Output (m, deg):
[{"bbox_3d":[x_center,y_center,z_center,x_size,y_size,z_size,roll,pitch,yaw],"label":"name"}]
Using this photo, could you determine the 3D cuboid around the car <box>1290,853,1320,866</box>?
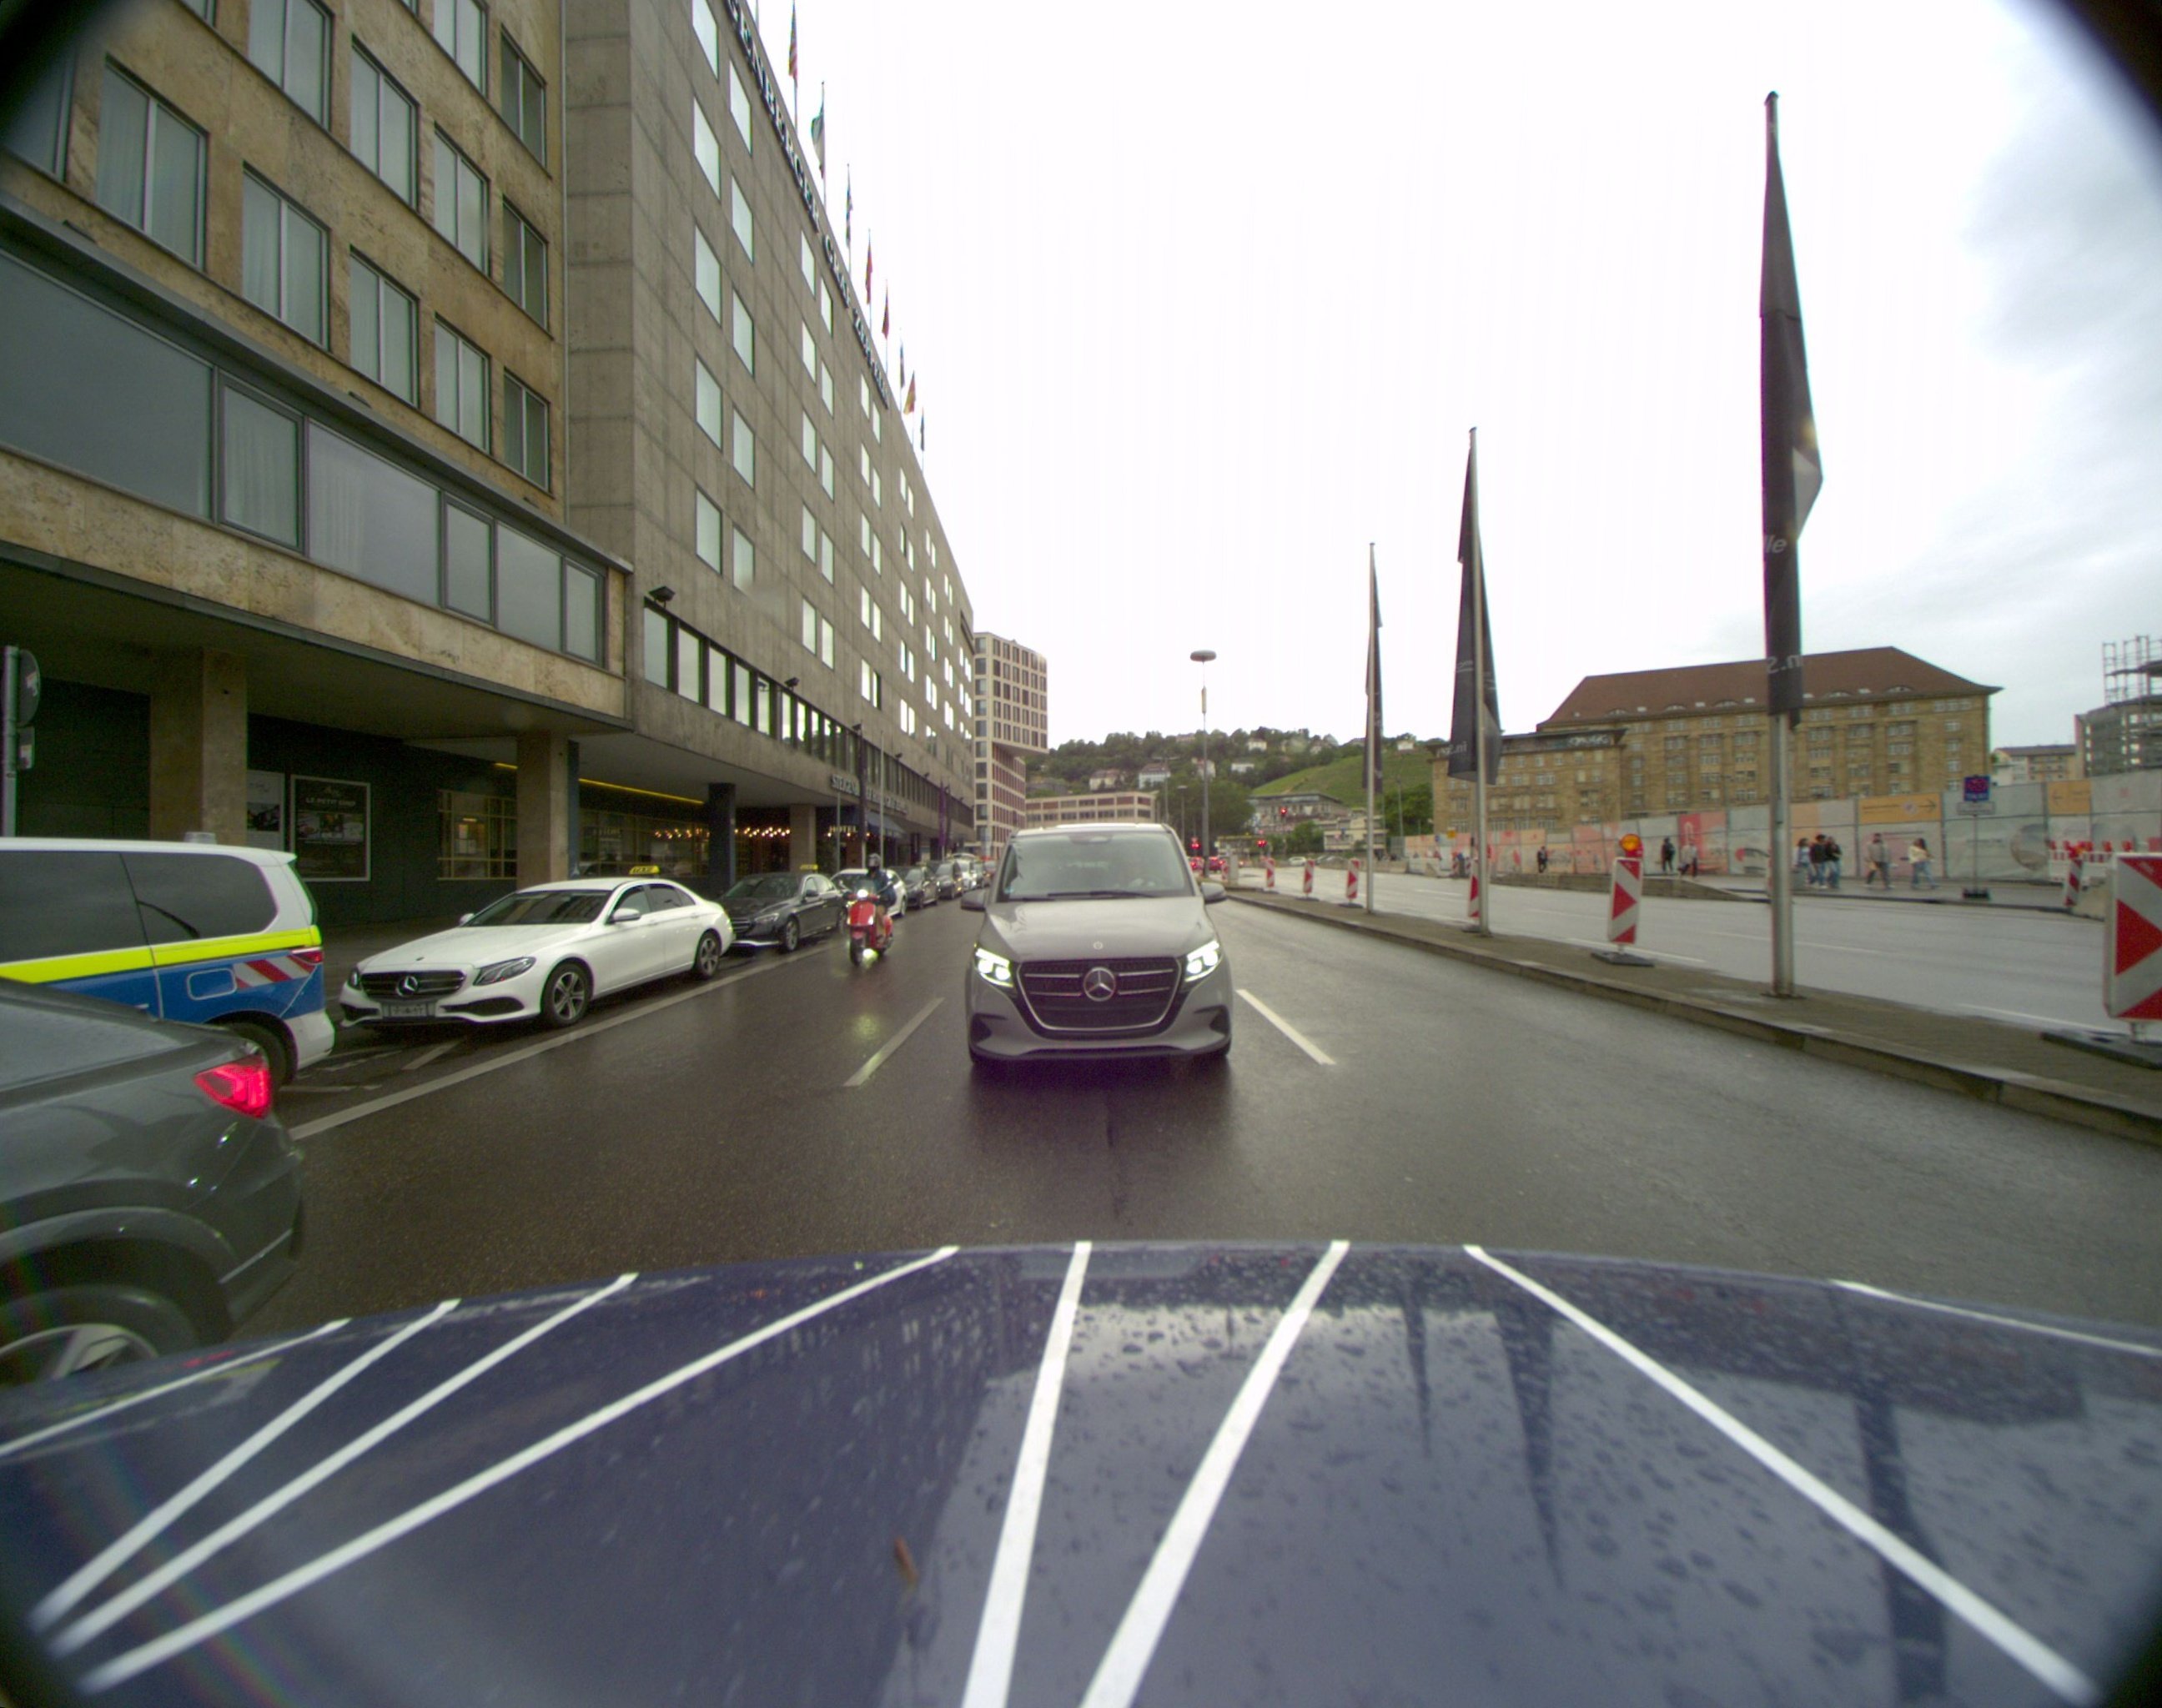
[{"bbox_3d":[34.624,0.834,117.408,4.194,1.846,1.832,-2,1,6],"label":"car"}]

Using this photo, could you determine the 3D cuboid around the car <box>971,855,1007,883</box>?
[{"bbox_3d":[-5.871,0.915,48.906,1.731,1.604,4.001,-2,1,0],"label":"car"}]

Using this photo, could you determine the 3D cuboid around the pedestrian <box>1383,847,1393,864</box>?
[{"bbox_3d":[30.169,0.165,74.658,0.715,1.606,0.544,-2,1,1],"label":"pedestrian"}]

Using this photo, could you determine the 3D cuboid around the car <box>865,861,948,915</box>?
[{"bbox_3d":[-6.043,1.122,26.851,1.731,1.583,4.814,-2,1,0],"label":"car"}]

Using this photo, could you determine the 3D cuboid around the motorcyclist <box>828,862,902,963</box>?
[{"bbox_3d":[-3.435,0.904,12.142,0.861,1.519,0.844,-2,1,1],"label":"motorcyclist"}]

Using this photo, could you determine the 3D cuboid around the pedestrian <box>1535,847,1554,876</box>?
[{"bbox_3d":[26.067,0.413,42.764,0.715,1.606,0.544,-2,1,1],"label":"pedestrian"}]

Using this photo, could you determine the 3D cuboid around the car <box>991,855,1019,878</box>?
[{"bbox_3d":[-5.903,0.966,59.226,1.731,1.604,4.001,-2,1,0],"label":"car"}]

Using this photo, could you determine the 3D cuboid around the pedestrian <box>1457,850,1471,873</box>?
[{"bbox_3d":[28.399,0.552,56.380,0.715,1.606,0.544,-2,1,1],"label":"pedestrian"}]

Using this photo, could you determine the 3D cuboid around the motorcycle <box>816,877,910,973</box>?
[{"bbox_3d":[-3.420,1.076,12.116,0.848,1.299,1.965,-2,1,1],"label":"motorcycle"}]

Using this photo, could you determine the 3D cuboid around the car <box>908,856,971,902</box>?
[{"bbox_3d":[-6.051,0.998,33.022,1.731,1.732,4.814,-2,1,0],"label":"car"}]

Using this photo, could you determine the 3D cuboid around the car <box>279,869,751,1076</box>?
[{"bbox_3d":[-6.091,1.100,9.225,1.879,1.628,5.010,-2,1,0],"label":"car"}]

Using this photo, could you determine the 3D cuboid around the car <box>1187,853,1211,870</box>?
[{"bbox_3d":[12.281,0.781,79.163,1.785,1.684,3.916,-2,1,-1],"label":"car"}]

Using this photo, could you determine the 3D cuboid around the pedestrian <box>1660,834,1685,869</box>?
[{"bbox_3d":[28.287,-0.124,36.348,0.715,1.606,0.544,-2,1,1],"label":"pedestrian"}]

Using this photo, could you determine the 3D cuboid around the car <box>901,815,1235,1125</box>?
[{"bbox_3d":[-0.041,0.702,7.277,1.998,1.849,5.160,-2,1,1],"label":"car"}]

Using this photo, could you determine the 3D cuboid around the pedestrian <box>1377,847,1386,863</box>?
[{"bbox_3d":[31.507,0.072,79.654,0.715,1.606,0.544,-2,1,12],"label":"pedestrian"}]

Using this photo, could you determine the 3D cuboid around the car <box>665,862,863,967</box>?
[{"bbox_3d":[-6.074,1.051,15.309,1.879,1.628,4.814,-2,1,0],"label":"car"}]

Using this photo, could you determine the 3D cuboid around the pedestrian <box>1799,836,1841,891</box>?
[{"bbox_3d":[23.791,0.299,24.468,0.714,1.723,0.718,-2,1,19],"label":"pedestrian"}]

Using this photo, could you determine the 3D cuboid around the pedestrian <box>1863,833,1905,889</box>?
[{"bbox_3d":[25.372,0.211,24.028,0.714,1.734,0.564,-2,1,21],"label":"pedestrian"}]

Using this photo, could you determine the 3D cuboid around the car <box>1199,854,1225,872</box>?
[{"bbox_3d":[12.422,0.841,72.295,1.785,1.684,3.916,-1,0,0],"label":"car"}]

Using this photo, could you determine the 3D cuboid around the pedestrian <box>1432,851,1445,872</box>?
[{"bbox_3d":[28.263,0.574,60.060,0.715,1.606,0.544,-2,1,1],"label":"pedestrian"}]

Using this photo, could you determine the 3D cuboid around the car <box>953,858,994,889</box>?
[{"bbox_3d":[-6.124,1.066,43.727,1.731,1.604,4.001,-2,1,0],"label":"car"}]

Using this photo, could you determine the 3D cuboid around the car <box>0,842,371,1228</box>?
[{"bbox_3d":[-6.322,0.935,3.222,1.879,1.909,4.935,-2,1,0],"label":"car"}]

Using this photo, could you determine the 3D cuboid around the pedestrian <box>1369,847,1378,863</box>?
[{"bbox_3d":[30.697,0.103,79.818,0.715,1.606,0.544,-2,1,12],"label":"pedestrian"}]

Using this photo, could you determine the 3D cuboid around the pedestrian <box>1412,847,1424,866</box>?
[{"bbox_3d":[27.952,0.206,63.004,0.715,1.606,0.544,-2,1,1],"label":"pedestrian"}]

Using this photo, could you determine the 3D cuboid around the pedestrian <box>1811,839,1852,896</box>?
[{"bbox_3d":[24.699,0.442,25.020,0.714,1.825,0.718,-2,1,19],"label":"pedestrian"}]

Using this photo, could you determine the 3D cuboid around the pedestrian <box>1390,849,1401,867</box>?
[{"bbox_3d":[28.778,0.338,69.515,0.715,1.606,0.544,-2,1,1],"label":"pedestrian"}]

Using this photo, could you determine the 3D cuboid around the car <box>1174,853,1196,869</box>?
[{"bbox_3d":[11.826,0.740,86.570,1.785,1.684,3.916,-2,1,-1],"label":"car"}]

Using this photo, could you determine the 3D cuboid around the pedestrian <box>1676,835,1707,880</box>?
[{"bbox_3d":[25.460,0.146,31.681,0.664,1.825,0.720,-2,1,1],"label":"pedestrian"}]

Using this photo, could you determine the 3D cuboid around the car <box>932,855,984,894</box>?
[{"bbox_3d":[-6.089,0.958,38.219,1.731,1.732,4.814,-2,1,0],"label":"car"}]

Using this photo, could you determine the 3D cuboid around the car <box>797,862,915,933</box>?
[{"bbox_3d":[-6.041,1.091,21.036,1.731,1.583,4.814,-2,1,0],"label":"car"}]

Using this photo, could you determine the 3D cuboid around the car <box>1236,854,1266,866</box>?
[{"bbox_3d":[23.693,0.862,106.063,3.993,1.622,2.002,-1,0,14],"label":"car"}]

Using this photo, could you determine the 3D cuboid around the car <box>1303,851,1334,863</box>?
[{"bbox_3d":[32.717,0.440,104.784,3.993,1.622,2.002,-1,0,14],"label":"car"}]

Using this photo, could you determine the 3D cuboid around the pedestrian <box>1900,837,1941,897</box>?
[{"bbox_3d":[25.971,0.403,23.516,0.661,1.825,0.556,-2,1,21],"label":"pedestrian"}]
